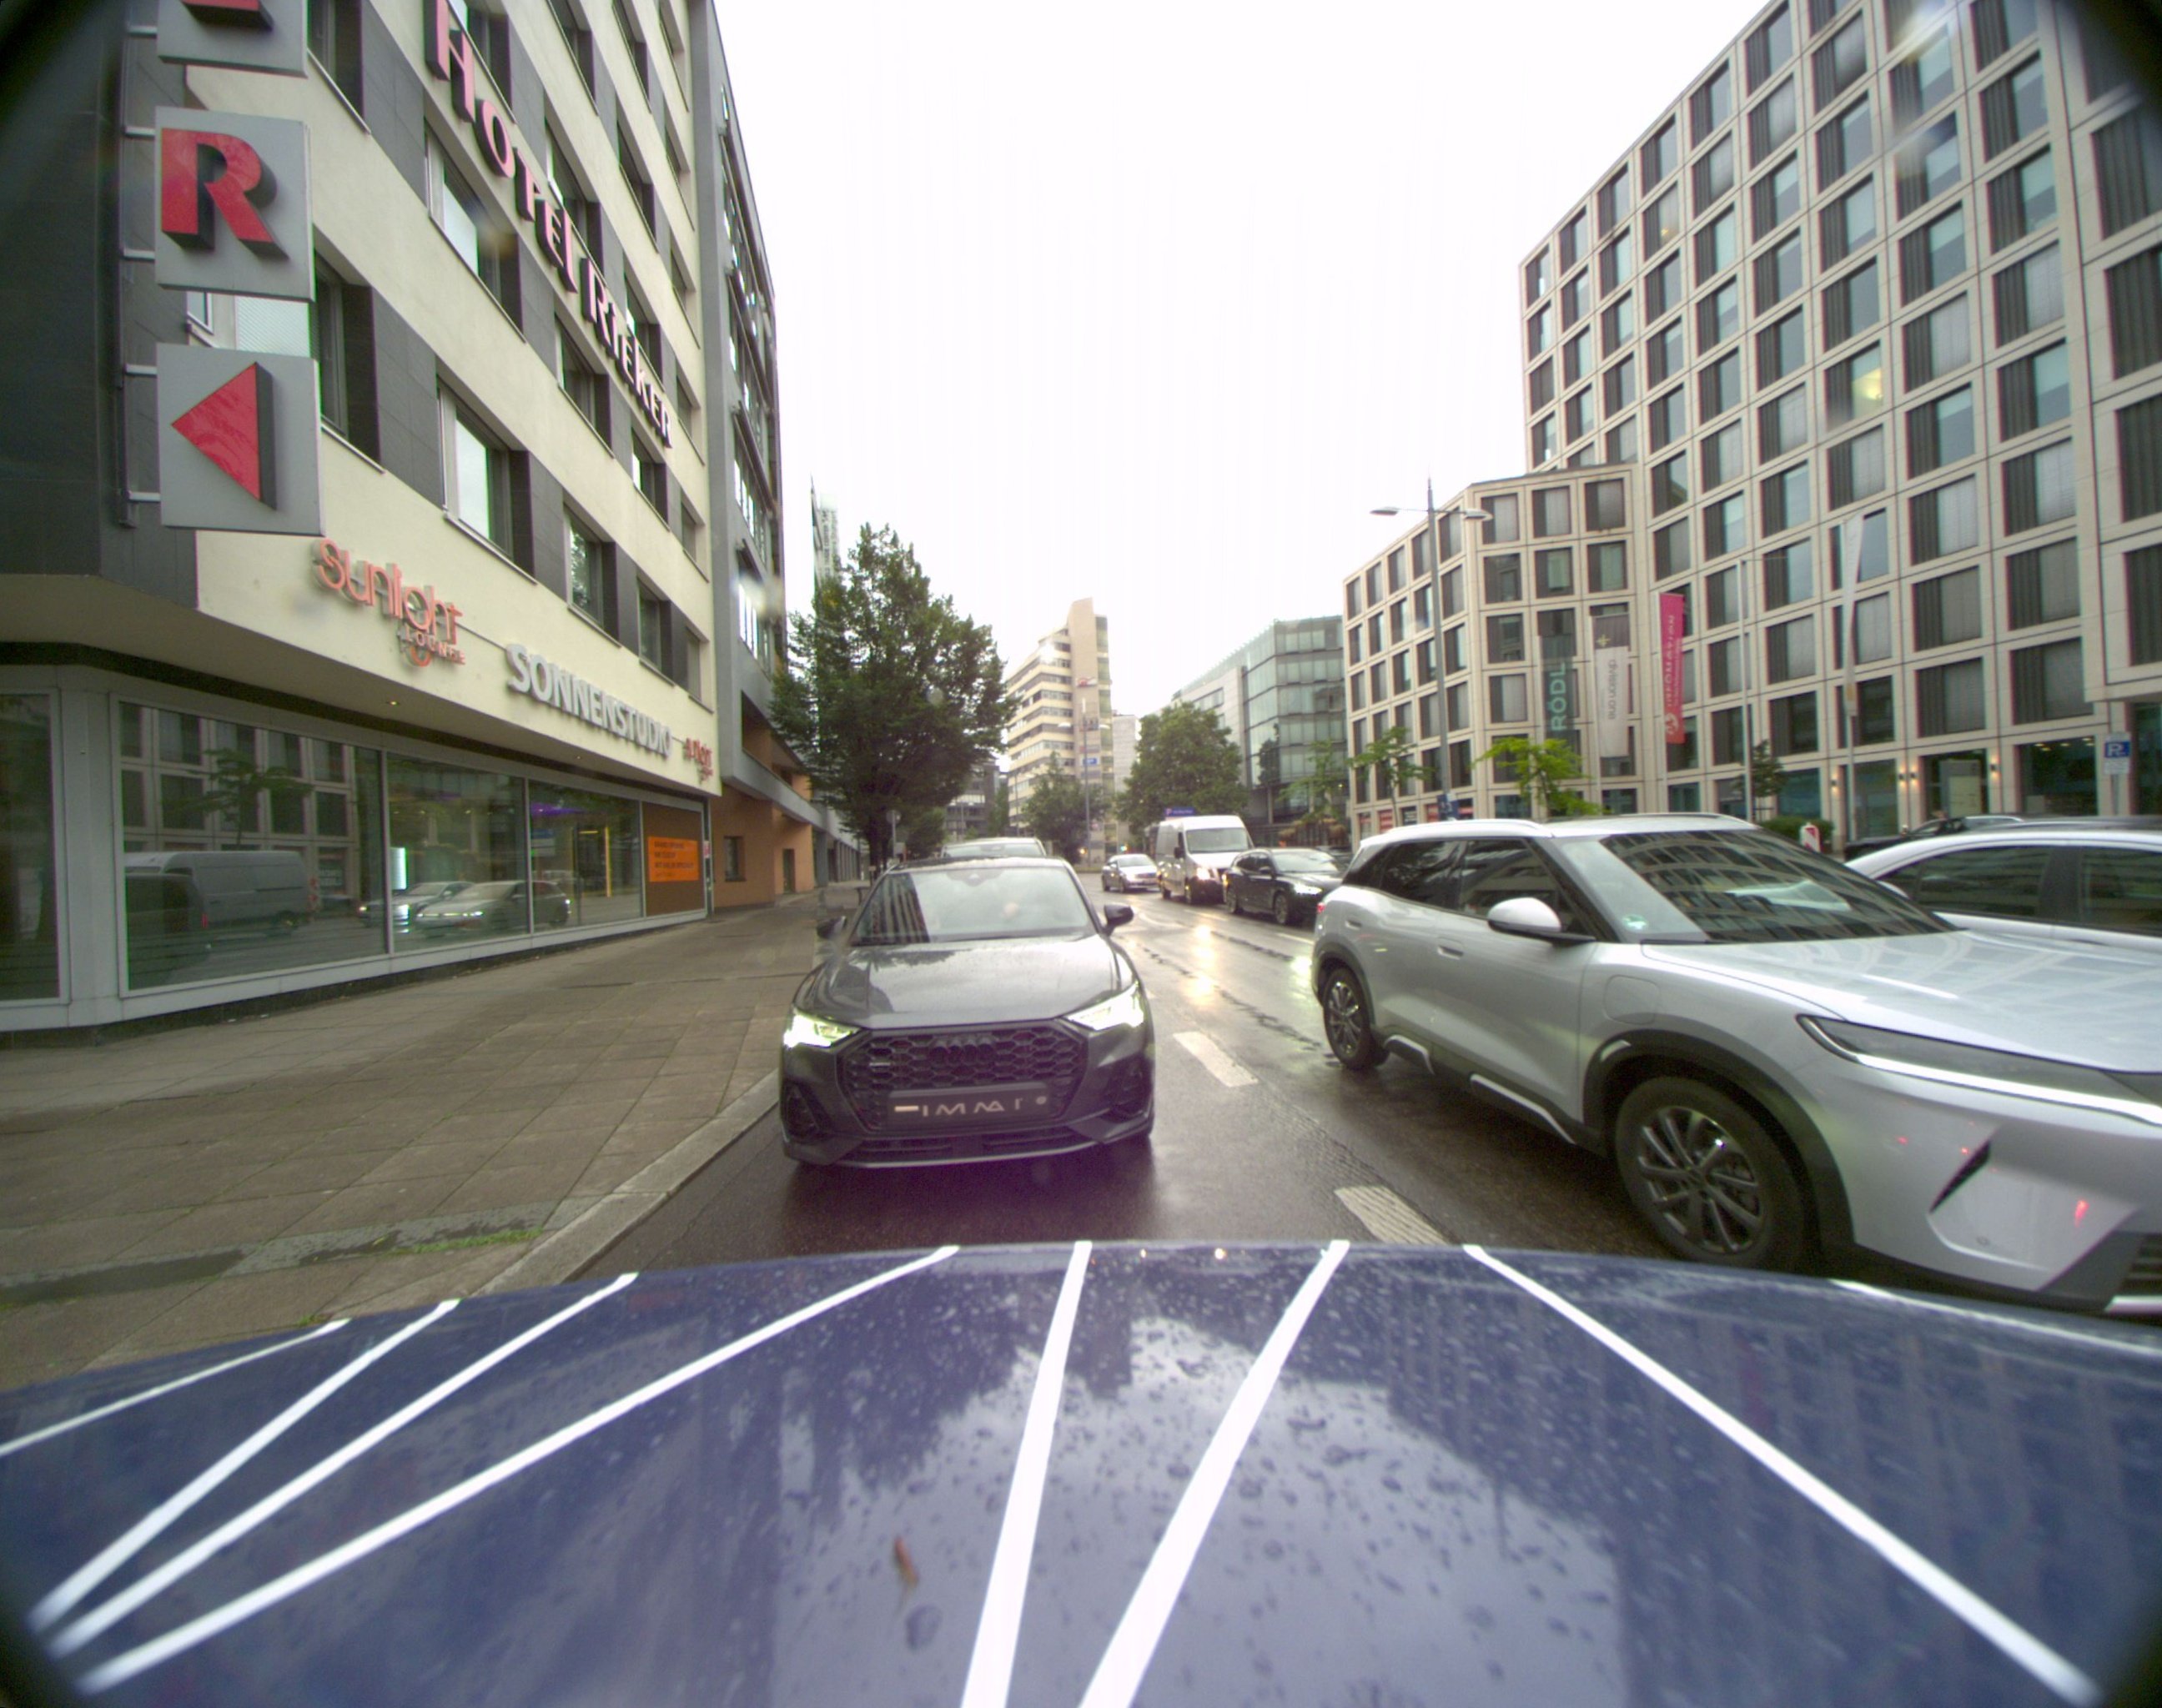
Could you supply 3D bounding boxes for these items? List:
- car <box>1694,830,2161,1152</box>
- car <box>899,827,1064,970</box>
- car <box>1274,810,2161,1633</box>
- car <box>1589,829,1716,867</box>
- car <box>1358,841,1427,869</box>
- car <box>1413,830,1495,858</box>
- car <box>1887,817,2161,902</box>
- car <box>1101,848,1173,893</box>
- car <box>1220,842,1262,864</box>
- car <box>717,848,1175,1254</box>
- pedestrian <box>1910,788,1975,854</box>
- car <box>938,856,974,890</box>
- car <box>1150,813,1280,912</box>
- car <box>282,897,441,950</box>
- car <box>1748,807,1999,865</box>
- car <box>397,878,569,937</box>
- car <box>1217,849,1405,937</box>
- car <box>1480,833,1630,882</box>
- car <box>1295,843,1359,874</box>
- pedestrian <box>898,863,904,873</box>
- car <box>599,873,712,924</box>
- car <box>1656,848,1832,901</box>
[{"bbox_3d":[5.762,0.616,3.668,1.738,1.396,4.380,-4,1,-6],"label":"car"},{"bbox_3d":[-1.451,0.582,13.162,2.059,1.881,5.048,-3,1,0],"label":"car"},{"bbox_3d":[2.669,0.716,3.744,1.814,1.651,4.167,-4,1,-8],"label":"car"},{"bbox_3d":[22.977,-0.228,30.749,1.703,1.415,3.951,-1,0,-12],"label":"car"},{"bbox_3d":[17.640,0.055,43.192,1.704,1.510,3.683,-1,0,-15],"label":"car"},{"bbox_3d":[20.352,-0.501,41.684,1.703,1.415,4.369,-1,0,-12],"label":"car"},{"bbox_3d":[19.718,0.085,15.525,1.703,1.510,4.187,-1,0,-12],"label":"car"},{"bbox_3d":[2.067,0.568,29.271,1.786,1.499,3.996,-4,1,-10],"label":"car"},{"bbox_3d":[15.324,-0.110,73.222,2.000,2.002,4.910,-4,1,-13],"label":"car"},{"bbox_3d":[-0.691,0.794,5.361,1.802,1.543,4.385,-3,1,-4],"label":"car"},{"bbox_3d":[23.540,-0.889,20.767,0.614,1.724,0.966,-4,2,-11],"label":"pedestrian"},{"bbox_3d":[-6.138,0.914,37.489,1.600,1.460,3.445,-4,1,-8],"label":"car"},{"bbox_3d":[3.690,0.174,22.237,2.260,2.371,5.716,-3,1,-4],"label":"car"},{"bbox_3d":[-23.584,2.261,25.051,3.391,1.322,1.564,-4,1,-15],"label":"car"},{"bbox_3d":[23.847,-0.493,23.226,1.703,1.560,5.178,-1,0,-12],"label":"car"},{"bbox_3d":[-16.297,1.412,21.015,1.721,1.187,3.998,-3,1,-4],"label":"car"},{"bbox_3d":[4.401,0.662,15.314,1.906,1.393,4.237,-4,1,-9],"label":"car"},{"bbox_3d":[15.060,0.103,24.439,1.703,1.415,4.135,-1,0,-12],"label":"car"},{"bbox_3d":[13.142,0.233,40.859,1.703,1.510,3.551,-1,0,-12],"label":"car"},{"bbox_3d":[-29.288,2.256,123.512,0.654,1.589,1.057,-4,2,-18],"label":"pedestrian"},{"bbox_3d":[-17.146,1.738,30.962,1.999,1.600,4.924,-3,1,-4],"label":"car"},{"bbox_3d":[20.891,0.600,24.171,1.703,1.510,3.967,-1,0,-12],"label":"car"}]
